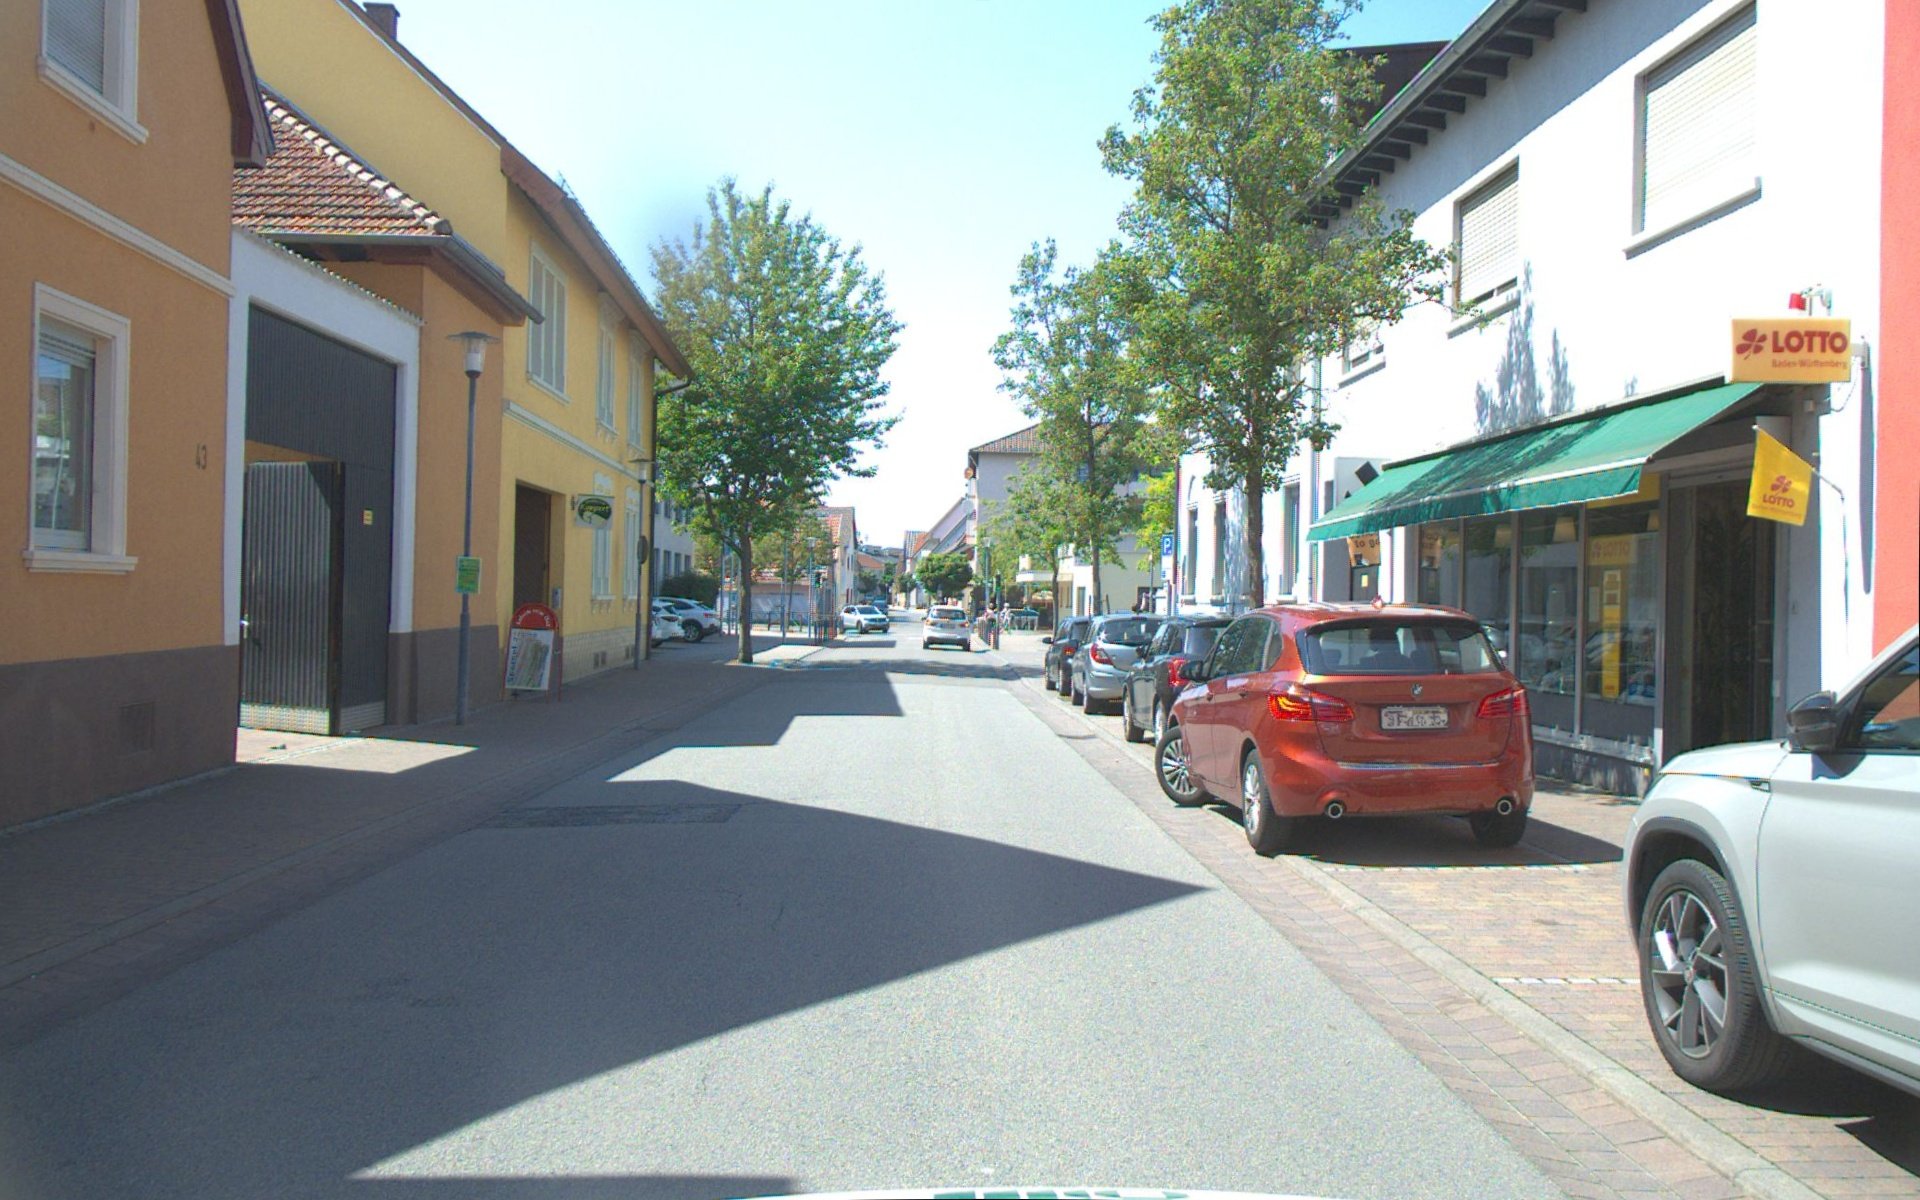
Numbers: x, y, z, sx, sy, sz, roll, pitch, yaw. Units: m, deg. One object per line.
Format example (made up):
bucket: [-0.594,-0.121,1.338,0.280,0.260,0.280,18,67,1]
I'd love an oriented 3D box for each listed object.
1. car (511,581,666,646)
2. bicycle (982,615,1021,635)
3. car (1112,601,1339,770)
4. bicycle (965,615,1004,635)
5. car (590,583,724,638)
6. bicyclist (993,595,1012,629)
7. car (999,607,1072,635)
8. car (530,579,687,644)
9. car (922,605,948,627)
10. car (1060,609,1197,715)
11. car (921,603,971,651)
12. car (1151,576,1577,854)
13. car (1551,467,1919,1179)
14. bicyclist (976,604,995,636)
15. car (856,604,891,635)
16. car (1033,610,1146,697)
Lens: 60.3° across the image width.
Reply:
car: [-10.461,0.386,46.787,3.909,1.476,1.806,5,-1,-4]
bicycle: [2.142,1.288,85.390,1.863,0.975,0.671,2,-2,-22]
car: [2.827,0.853,18.372,1.702,1.539,3.734,5,0,-2]
bicycle: [1.239,1.274,83.680,1.860,0.974,0.672,1,-1,-18]
car: [-10.994,0.392,60.285,4.418,1.581,2.146,5,-2,-3]
bicyclist: [2.202,0.628,85.424,0.748,1.693,0.666,2,-2,-22]
car: [4.850,1.360,106.599,4.346,1.490,1.880,4,-2,-14]
car: [-10.969,0.387,51.838,4.414,1.581,1.934,5,-3,-2]
car: [-1.891,1.225,123.763,1.768,1.528,4.000,3,-1,0]
car: [2.581,0.910,26.105,1.682,1.507,4.095,1,0,-1]
car: [-0.542,0.988,62.138,1.796,1.681,3.999,1,0,-1]
car: [2.642,0.694,11.850,1.793,1.616,4.085,1,0,-4]
car: [3.246,0.555,3.879,1.829,1.714,4.659,1,0,-3]
bicyclist: [1.288,1.019,83.698,0.747,1.609,0.667,1,-1,-18]
car: [-4.912,1.111,94.064,1.814,1.601,3.998,3,-2,-2]
car: [2.416,0.974,31.720,1.669,1.507,3.919,1,0,-3]
